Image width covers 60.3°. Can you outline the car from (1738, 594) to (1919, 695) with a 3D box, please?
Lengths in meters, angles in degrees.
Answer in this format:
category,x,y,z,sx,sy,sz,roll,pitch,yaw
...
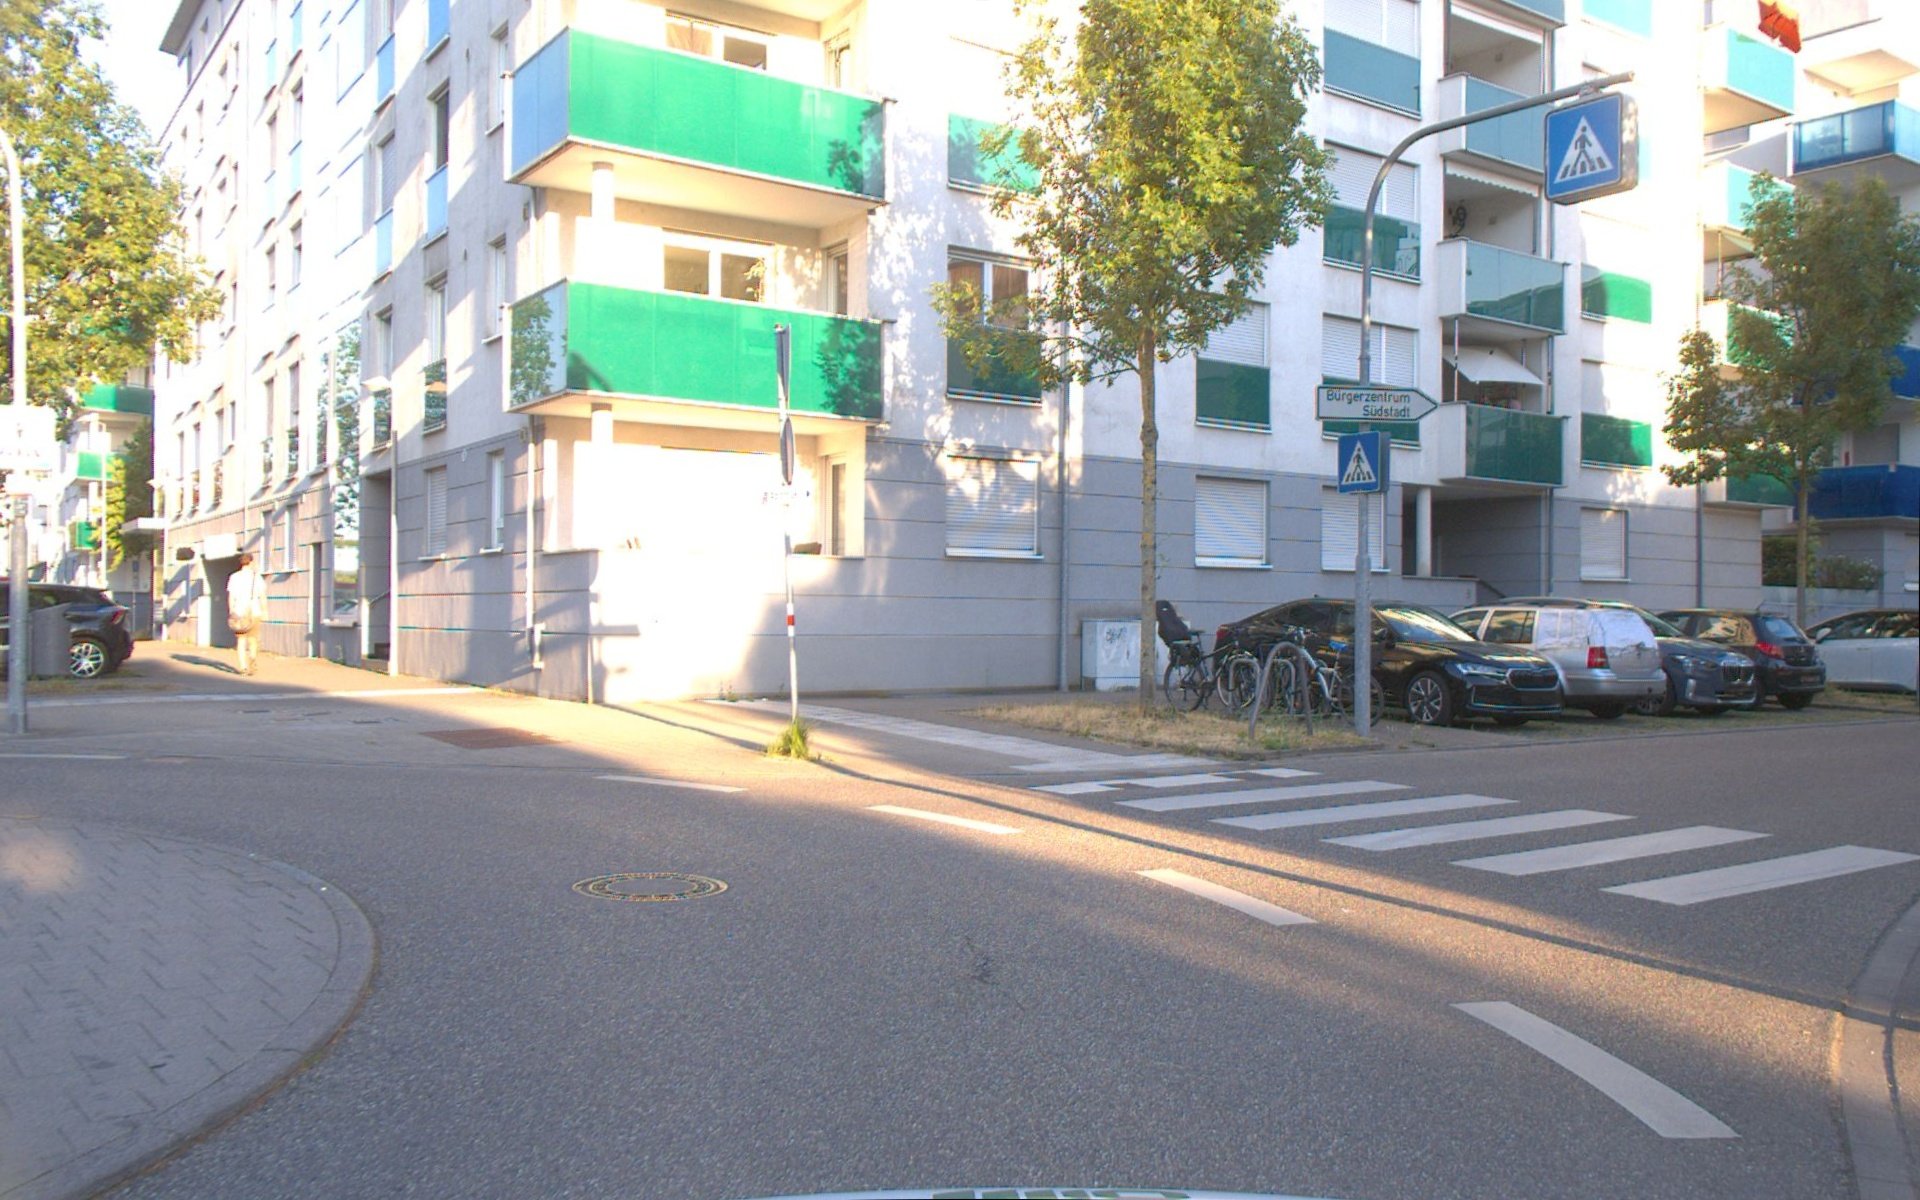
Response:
category,x,y,z,sx,sy,sz,roll,pitch,yaw
car,15.802,0.762,28.248,1.669,1.534,4.237,1,2,-39

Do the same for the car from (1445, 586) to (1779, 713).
category,x,y,z,sx,sy,sz,roll,pitch,yaw
car,9.388,0.654,24.116,1.724,1.520,4.242,1,2,-36

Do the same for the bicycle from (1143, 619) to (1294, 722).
category,x,y,z,sx,sy,sz,roll,pitch,yaw
bicycle,2.976,0.797,19.193,0.562,1.060,1.768,2,1,-40

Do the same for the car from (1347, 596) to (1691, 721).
category,x,y,z,sx,sy,sz,roll,pitch,yaw
car,7.487,0.759,22.578,1.721,1.534,4.366,1,-1,-33

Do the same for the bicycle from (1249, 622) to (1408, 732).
category,x,y,z,sx,sy,sz,roll,pitch,yaw
bicycle,4.140,0.841,18.685,0.469,1.090,1.814,2,1,-40

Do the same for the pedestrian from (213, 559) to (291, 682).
category,x,y,z,sx,sy,sz,roll,pitch,yaw
pedestrian,-11.341,0.334,26.480,0.968,1.927,1.038,1,-1,-33

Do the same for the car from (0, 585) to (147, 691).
category,x,y,z,sx,sy,sz,roll,pitch,yaw
car,-14.992,0.609,25.283,4.424,1.513,1.813,-2,1,-33

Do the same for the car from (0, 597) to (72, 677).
category,x,y,z,sx,sy,sz,roll,pitch,yaw
car,-19.332,0.692,31.607,4.009,1.506,1.680,1,-1,-35

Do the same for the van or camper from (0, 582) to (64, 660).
category,x,y,z,sx,sy,sz,roll,pitch,yaw
van or camper,-27.152,0.551,44.583,5.074,2.096,1.854,1,-1,-36

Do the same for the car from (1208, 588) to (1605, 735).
category,x,y,z,sx,sy,sz,roll,pitch,yaw
car,5.532,0.686,21.145,1.914,1.483,4.834,1,2,-34

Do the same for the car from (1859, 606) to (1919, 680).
category,x,y,z,sx,sy,sz,roll,pitch,yaw
car,19.586,0.886,31.619,1.708,1.368,3.865,1,2,-40

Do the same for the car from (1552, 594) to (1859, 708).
category,x,y,z,sx,sy,sz,roll,pitch,yaw
car,11.593,0.744,26.034,1.716,1.483,4.259,1,2,-27

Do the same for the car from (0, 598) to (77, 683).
category,x,y,z,sx,sy,sz,roll,pitch,yaw
car,-18.131,0.708,29.520,4.009,1.506,1.680,1,-1,-35

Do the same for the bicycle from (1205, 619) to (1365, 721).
category,x,y,z,sx,sy,sz,roll,pitch,yaw
bicycle,3.859,0.818,19.817,0.469,1.064,2.006,2,1,-40

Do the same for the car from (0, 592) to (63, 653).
category,x,y,z,sx,sy,sz,roll,pitch,yaw
car,-25.460,0.571,42.160,4.415,1.548,1.680,1,-1,-35
